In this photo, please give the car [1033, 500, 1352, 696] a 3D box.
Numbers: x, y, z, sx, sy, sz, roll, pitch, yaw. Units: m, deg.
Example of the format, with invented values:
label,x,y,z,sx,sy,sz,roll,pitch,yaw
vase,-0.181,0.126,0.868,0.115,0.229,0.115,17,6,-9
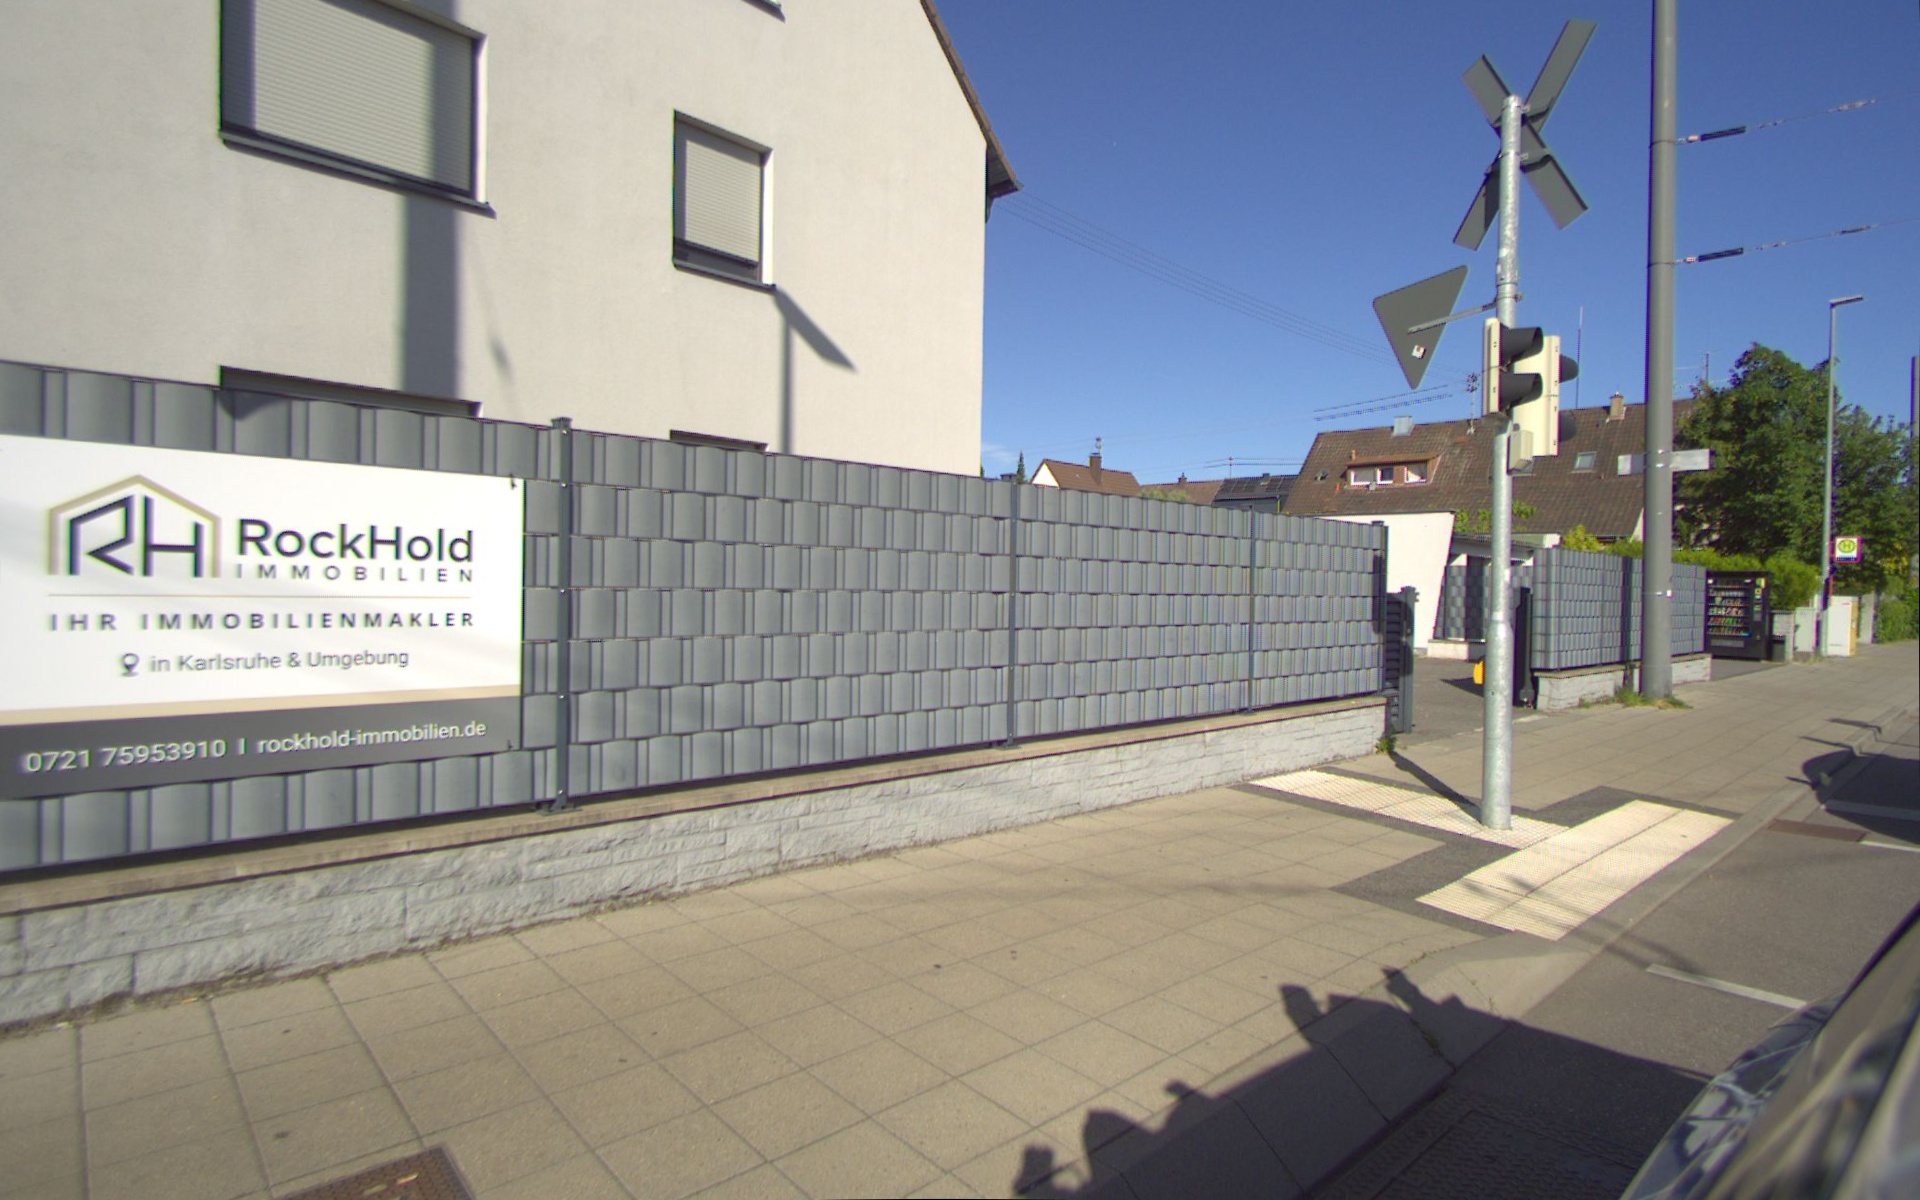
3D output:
label,x,y,z,sx,sy,sz,roll,pitch,yaw
car,3.244,-0.100,15.349,1.959,2.461,5.000,-1,2,-27
